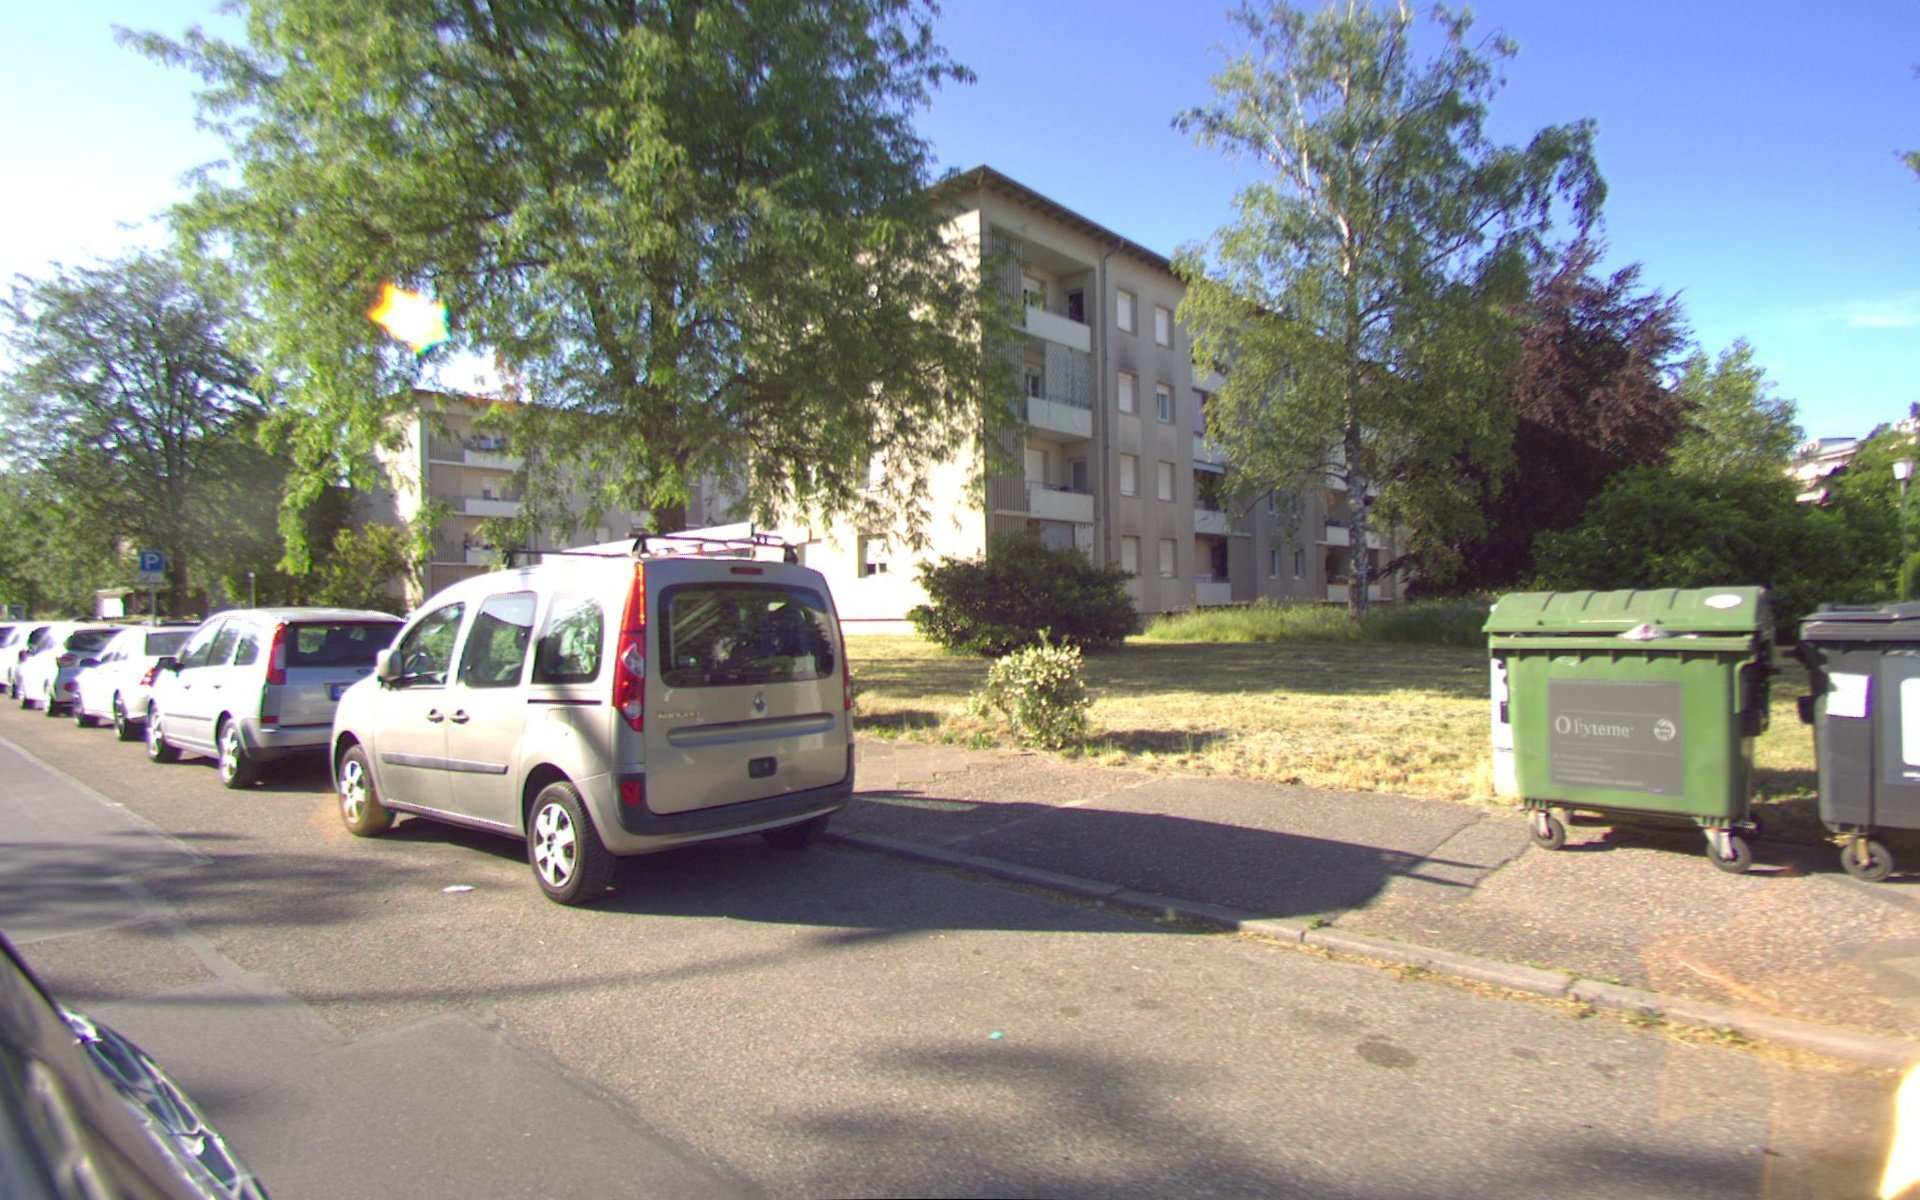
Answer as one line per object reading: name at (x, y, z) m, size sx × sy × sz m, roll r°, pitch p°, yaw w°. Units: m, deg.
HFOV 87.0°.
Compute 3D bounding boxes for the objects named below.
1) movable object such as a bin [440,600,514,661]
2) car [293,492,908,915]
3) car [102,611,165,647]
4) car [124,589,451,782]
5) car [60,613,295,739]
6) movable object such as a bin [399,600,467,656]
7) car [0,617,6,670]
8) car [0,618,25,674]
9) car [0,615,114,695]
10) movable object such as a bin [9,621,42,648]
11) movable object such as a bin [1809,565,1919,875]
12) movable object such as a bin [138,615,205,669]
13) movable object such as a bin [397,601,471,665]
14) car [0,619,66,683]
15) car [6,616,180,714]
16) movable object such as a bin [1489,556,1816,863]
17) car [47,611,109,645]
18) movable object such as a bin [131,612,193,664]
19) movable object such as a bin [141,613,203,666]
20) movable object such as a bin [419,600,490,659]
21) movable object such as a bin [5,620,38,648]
movable object such as a bin at (-12.341, 0.761, 25.859) m, size 1.462 × 1.431 × 1.165 m, roll -2°, pitch 2°, yaw 43°
car at (-2.589, 0.508, 6.695) m, size 4.413 × 1.907 × 1.836 m, roll -1°, pitch -1°, yaw 39°
car at (-40.478, 1.407, 49.545) m, size 3.996 × 1.653 × 1.555 m, roll -1°, pitch 1°, yaw 39°
car at (-7.014, 0.773, 10.410) m, size 3.982 × 1.612 × 1.692 m, roll -1°, pitch -2°, yaw 39°
car at (-10.966, 0.958, 14.060) m, size 4.522 × 1.476 × 1.669 m, roll -1°, pitch -2°, yaw 40°
movable object such as a bin at (-14.535, 0.769, 27.896) m, size 1.462 × 1.431 × 1.165 m, roll -2°, pitch 2°, yaw 43°
car at (-31.990, 1.384, 32.242) m, size 4.346 × 1.652 × 1.883 m, roll -1°, pitch -1°, yaw 41°
car at (-27.887, 1.306, 28.726) m, size 3.944 × 1.525 × 1.645 m, roll -1°, pitch -1°, yaw 42°
car at (-19.587, 1.116, 21.648) m, size 3.888 × 1.546 × 1.669 m, roll -1°, pitch -1°, yaw 40°
movable object such as a bin at (-50.003, 1.831, 54.149) m, size 1.343 × 1.350 × 1.165 m, roll -2°, pitch 0°, yaw 42°
movable object such as a bin at (4.961, 0.533, 4.824) m, size 1.360 × 1.381 × 1.090 m, roll -2°, pitch 2°, yaw 41°
movable object such as a bin at (-21.494, 1.136, 27.598) m, size 1.343 × 1.350 × 1.165 m, roll -2°, pitch 2°, yaw 42°
movable object such as a bin at (-12.736, 0.794, 24.507) m, size 1.360 × 1.431 × 1.122 m, roll -2°, pitch 2°, yaw 42°
car at (-24.307, 1.272, 25.669) m, size 3.529 × 1.525 × 1.648 m, roll -1°, pitch -1°, yaw 35°
car at (-15.192, 1.061, 17.673) m, size 3.814 × 1.517 × 1.670 m, roll -1°, pitch -1°, yaw 39°
movable object such as a bin at (3.873, 0.517, 5.664) m, size 1.360 × 1.431 × 1.090 m, roll -2°, pitch 2°, yaw 41°
car at (-42.307, 1.327, 48.528) m, size 3.996 × 1.536 × 1.555 m, roll -1°, pitch 1°, yaw 39°
movable object such as a bin at (-23.414, 1.096, 29.683) m, size 1.441 × 1.393 × 1.124 m, roll -2°, pitch 2°, yaw 42°
movable object such as a bin at (-22.351, 1.107, 28.709) m, size 1.243 × 1.368 × 1.124 m, roll -2°, pitch 2°, yaw 42°
movable object such as a bin at (-13.443, 0.776, 26.908) m, size 1.462 × 1.431 × 1.165 m, roll -2°, pitch 2°, yaw 43°
movable object such as a bin at (-51.054, 1.831, 55.028) m, size 1.342 × 1.418 × 1.165 m, roll -2°, pitch 0°, yaw 41°
